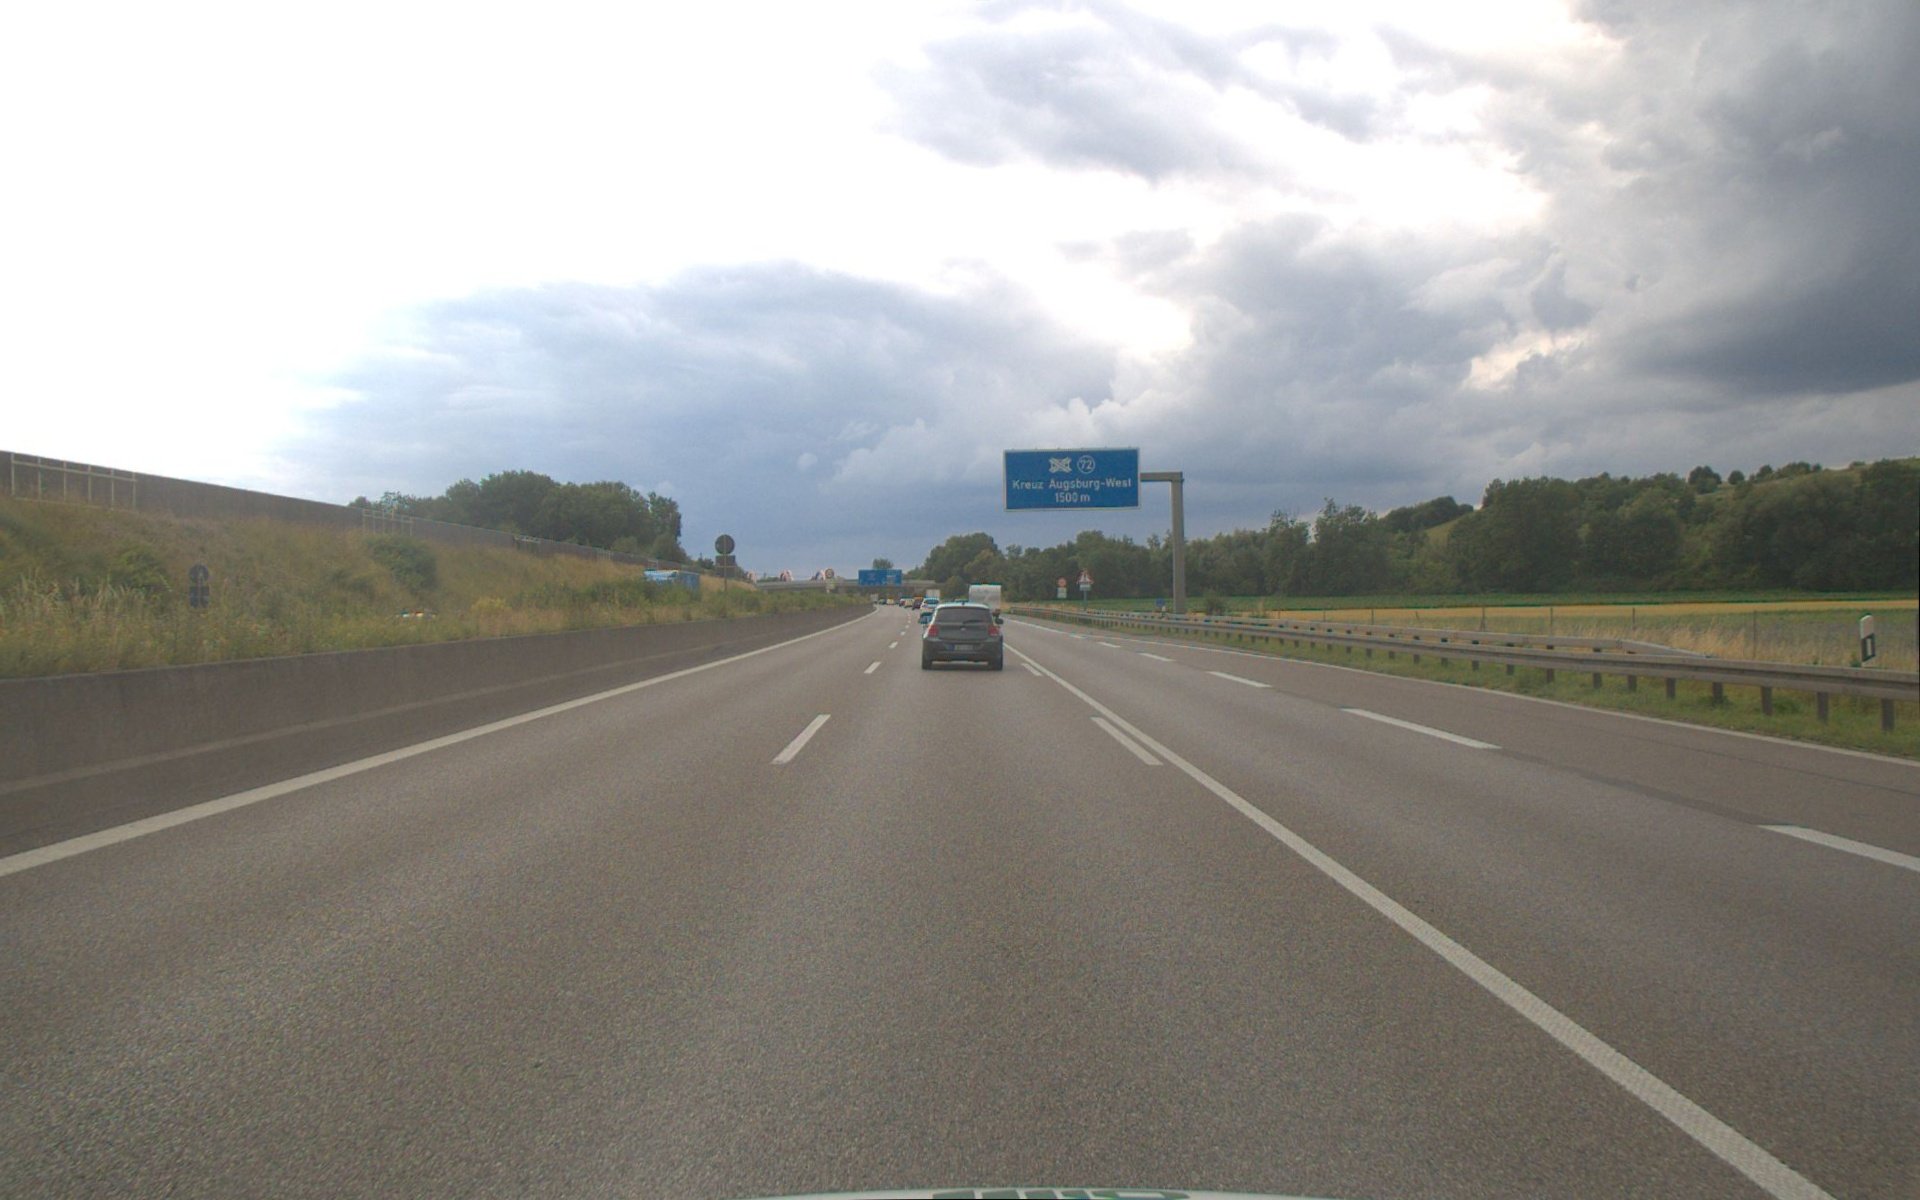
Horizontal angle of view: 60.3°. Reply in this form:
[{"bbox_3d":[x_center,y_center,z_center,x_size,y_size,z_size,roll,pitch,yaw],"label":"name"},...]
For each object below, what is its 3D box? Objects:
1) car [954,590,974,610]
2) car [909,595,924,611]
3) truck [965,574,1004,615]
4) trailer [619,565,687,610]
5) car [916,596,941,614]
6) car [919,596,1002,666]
[{"bbox_3d":[0.397,-0.034,174.593,1.953,2.049,3.999,-1,0,-1],"label":"car"},{"bbox_3d":[-5.884,0.371,224.509,1.953,2.049,3.999,-1,0,-1],"label":"car"},{"bbox_3d":[1.814,-0.423,127.875,2.655,3.016,12.445,1,0,-1],"label":"truck"},{"bbox_3d":[-21.977,-0.867,119.034,2.878,3.064,11.614,1,0,-1],"label":"trailer"},{"bbox_3d":[-2.490,0.403,130.070,1.953,1.321,3.999,-1,0,-1],"label":"car"},{"bbox_3d":[-0.001,0.646,36.389,1.708,1.413,4.000,1,1,-1],"label":"car"}]
